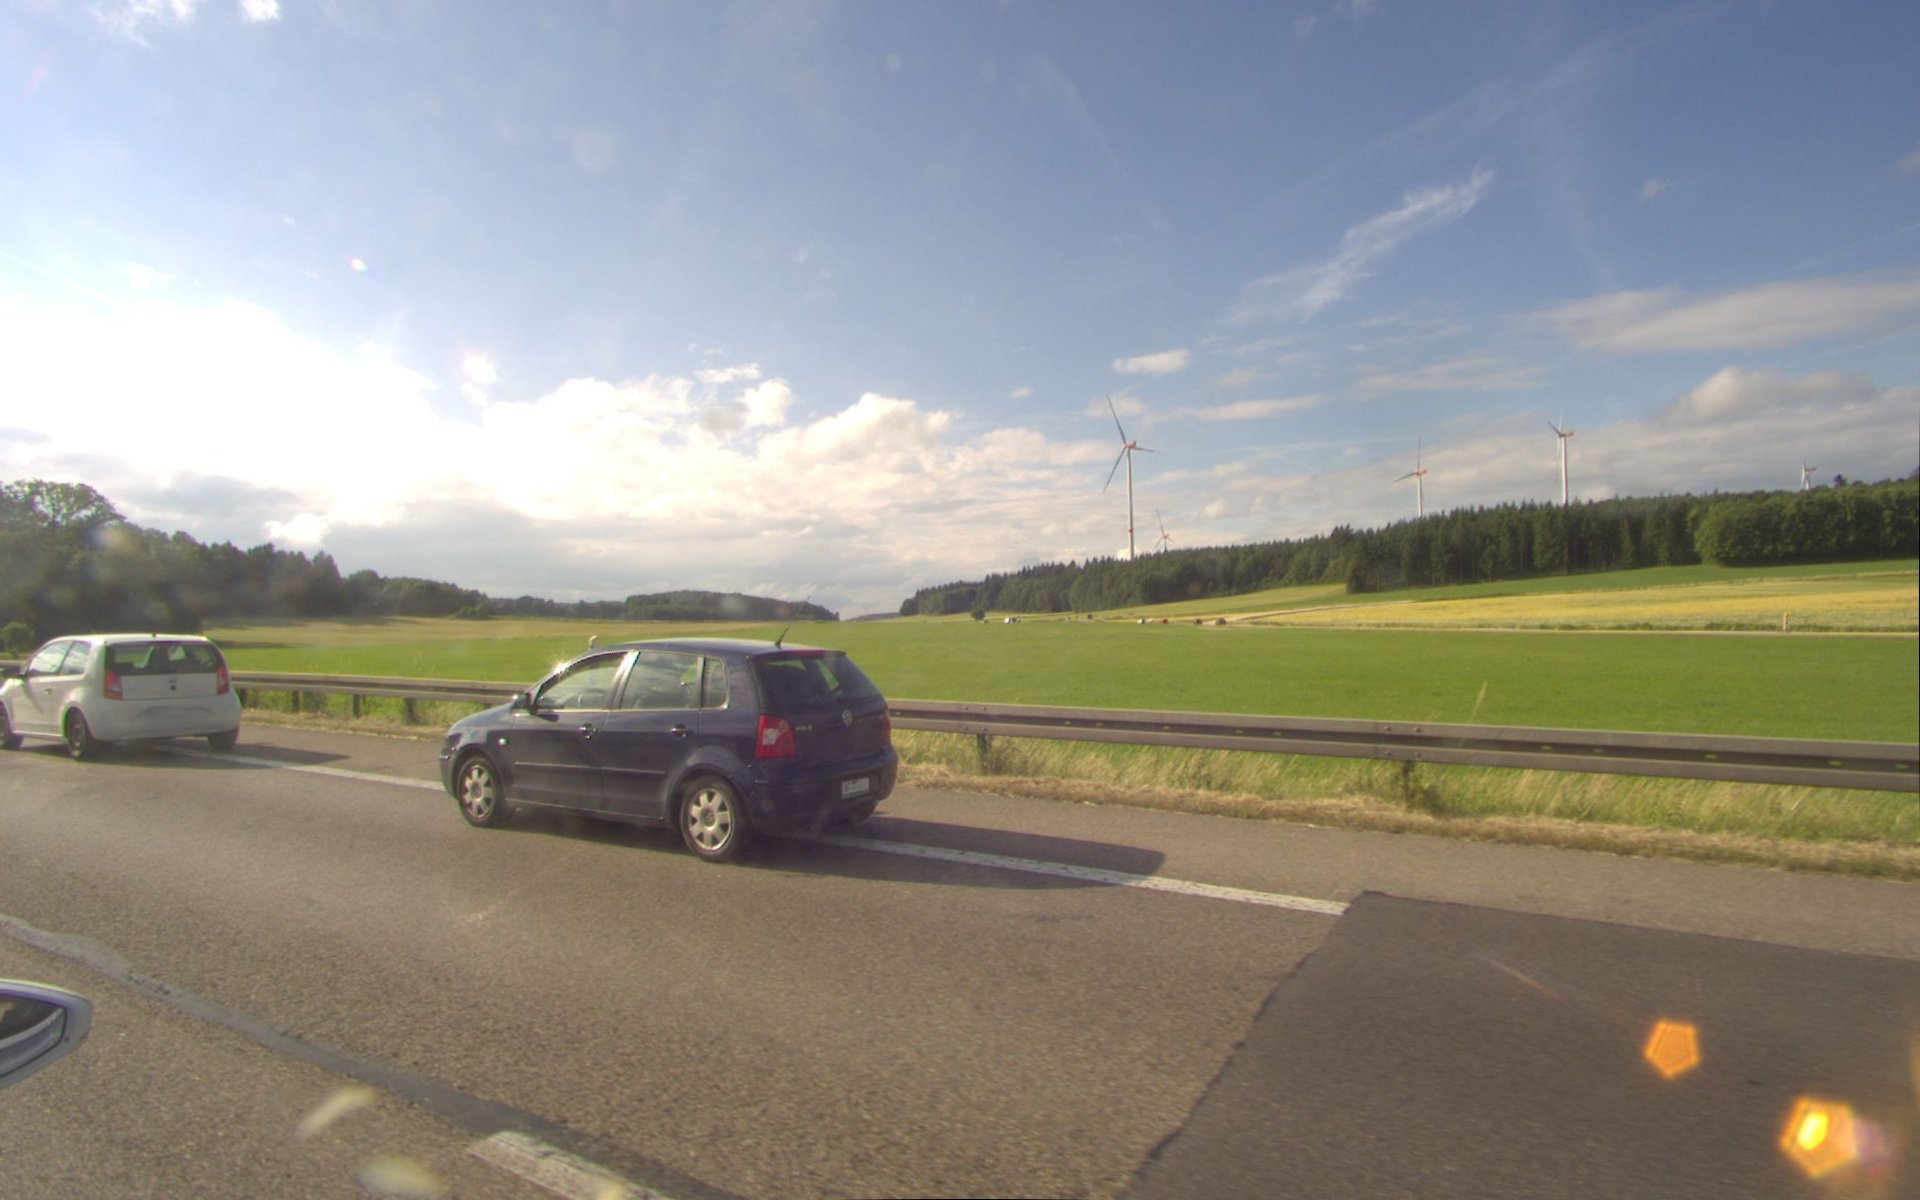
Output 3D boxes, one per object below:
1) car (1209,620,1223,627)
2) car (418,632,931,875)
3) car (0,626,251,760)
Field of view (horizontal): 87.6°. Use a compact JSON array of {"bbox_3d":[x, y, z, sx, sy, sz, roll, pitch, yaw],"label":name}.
[{"bbox_3d":[56.584,5.171,221.443,1.803,1.505,4.222,0,-2,-5],"label":"car"},{"bbox_3d":[-2.249,0.997,7.727,3.718,1.464,1.708,-2,-2,30],"label":"car"},{"bbox_3d":[-10.840,1.102,12.900,3.327,1.514,1.547,0,-1,30],"label":"car"}]
